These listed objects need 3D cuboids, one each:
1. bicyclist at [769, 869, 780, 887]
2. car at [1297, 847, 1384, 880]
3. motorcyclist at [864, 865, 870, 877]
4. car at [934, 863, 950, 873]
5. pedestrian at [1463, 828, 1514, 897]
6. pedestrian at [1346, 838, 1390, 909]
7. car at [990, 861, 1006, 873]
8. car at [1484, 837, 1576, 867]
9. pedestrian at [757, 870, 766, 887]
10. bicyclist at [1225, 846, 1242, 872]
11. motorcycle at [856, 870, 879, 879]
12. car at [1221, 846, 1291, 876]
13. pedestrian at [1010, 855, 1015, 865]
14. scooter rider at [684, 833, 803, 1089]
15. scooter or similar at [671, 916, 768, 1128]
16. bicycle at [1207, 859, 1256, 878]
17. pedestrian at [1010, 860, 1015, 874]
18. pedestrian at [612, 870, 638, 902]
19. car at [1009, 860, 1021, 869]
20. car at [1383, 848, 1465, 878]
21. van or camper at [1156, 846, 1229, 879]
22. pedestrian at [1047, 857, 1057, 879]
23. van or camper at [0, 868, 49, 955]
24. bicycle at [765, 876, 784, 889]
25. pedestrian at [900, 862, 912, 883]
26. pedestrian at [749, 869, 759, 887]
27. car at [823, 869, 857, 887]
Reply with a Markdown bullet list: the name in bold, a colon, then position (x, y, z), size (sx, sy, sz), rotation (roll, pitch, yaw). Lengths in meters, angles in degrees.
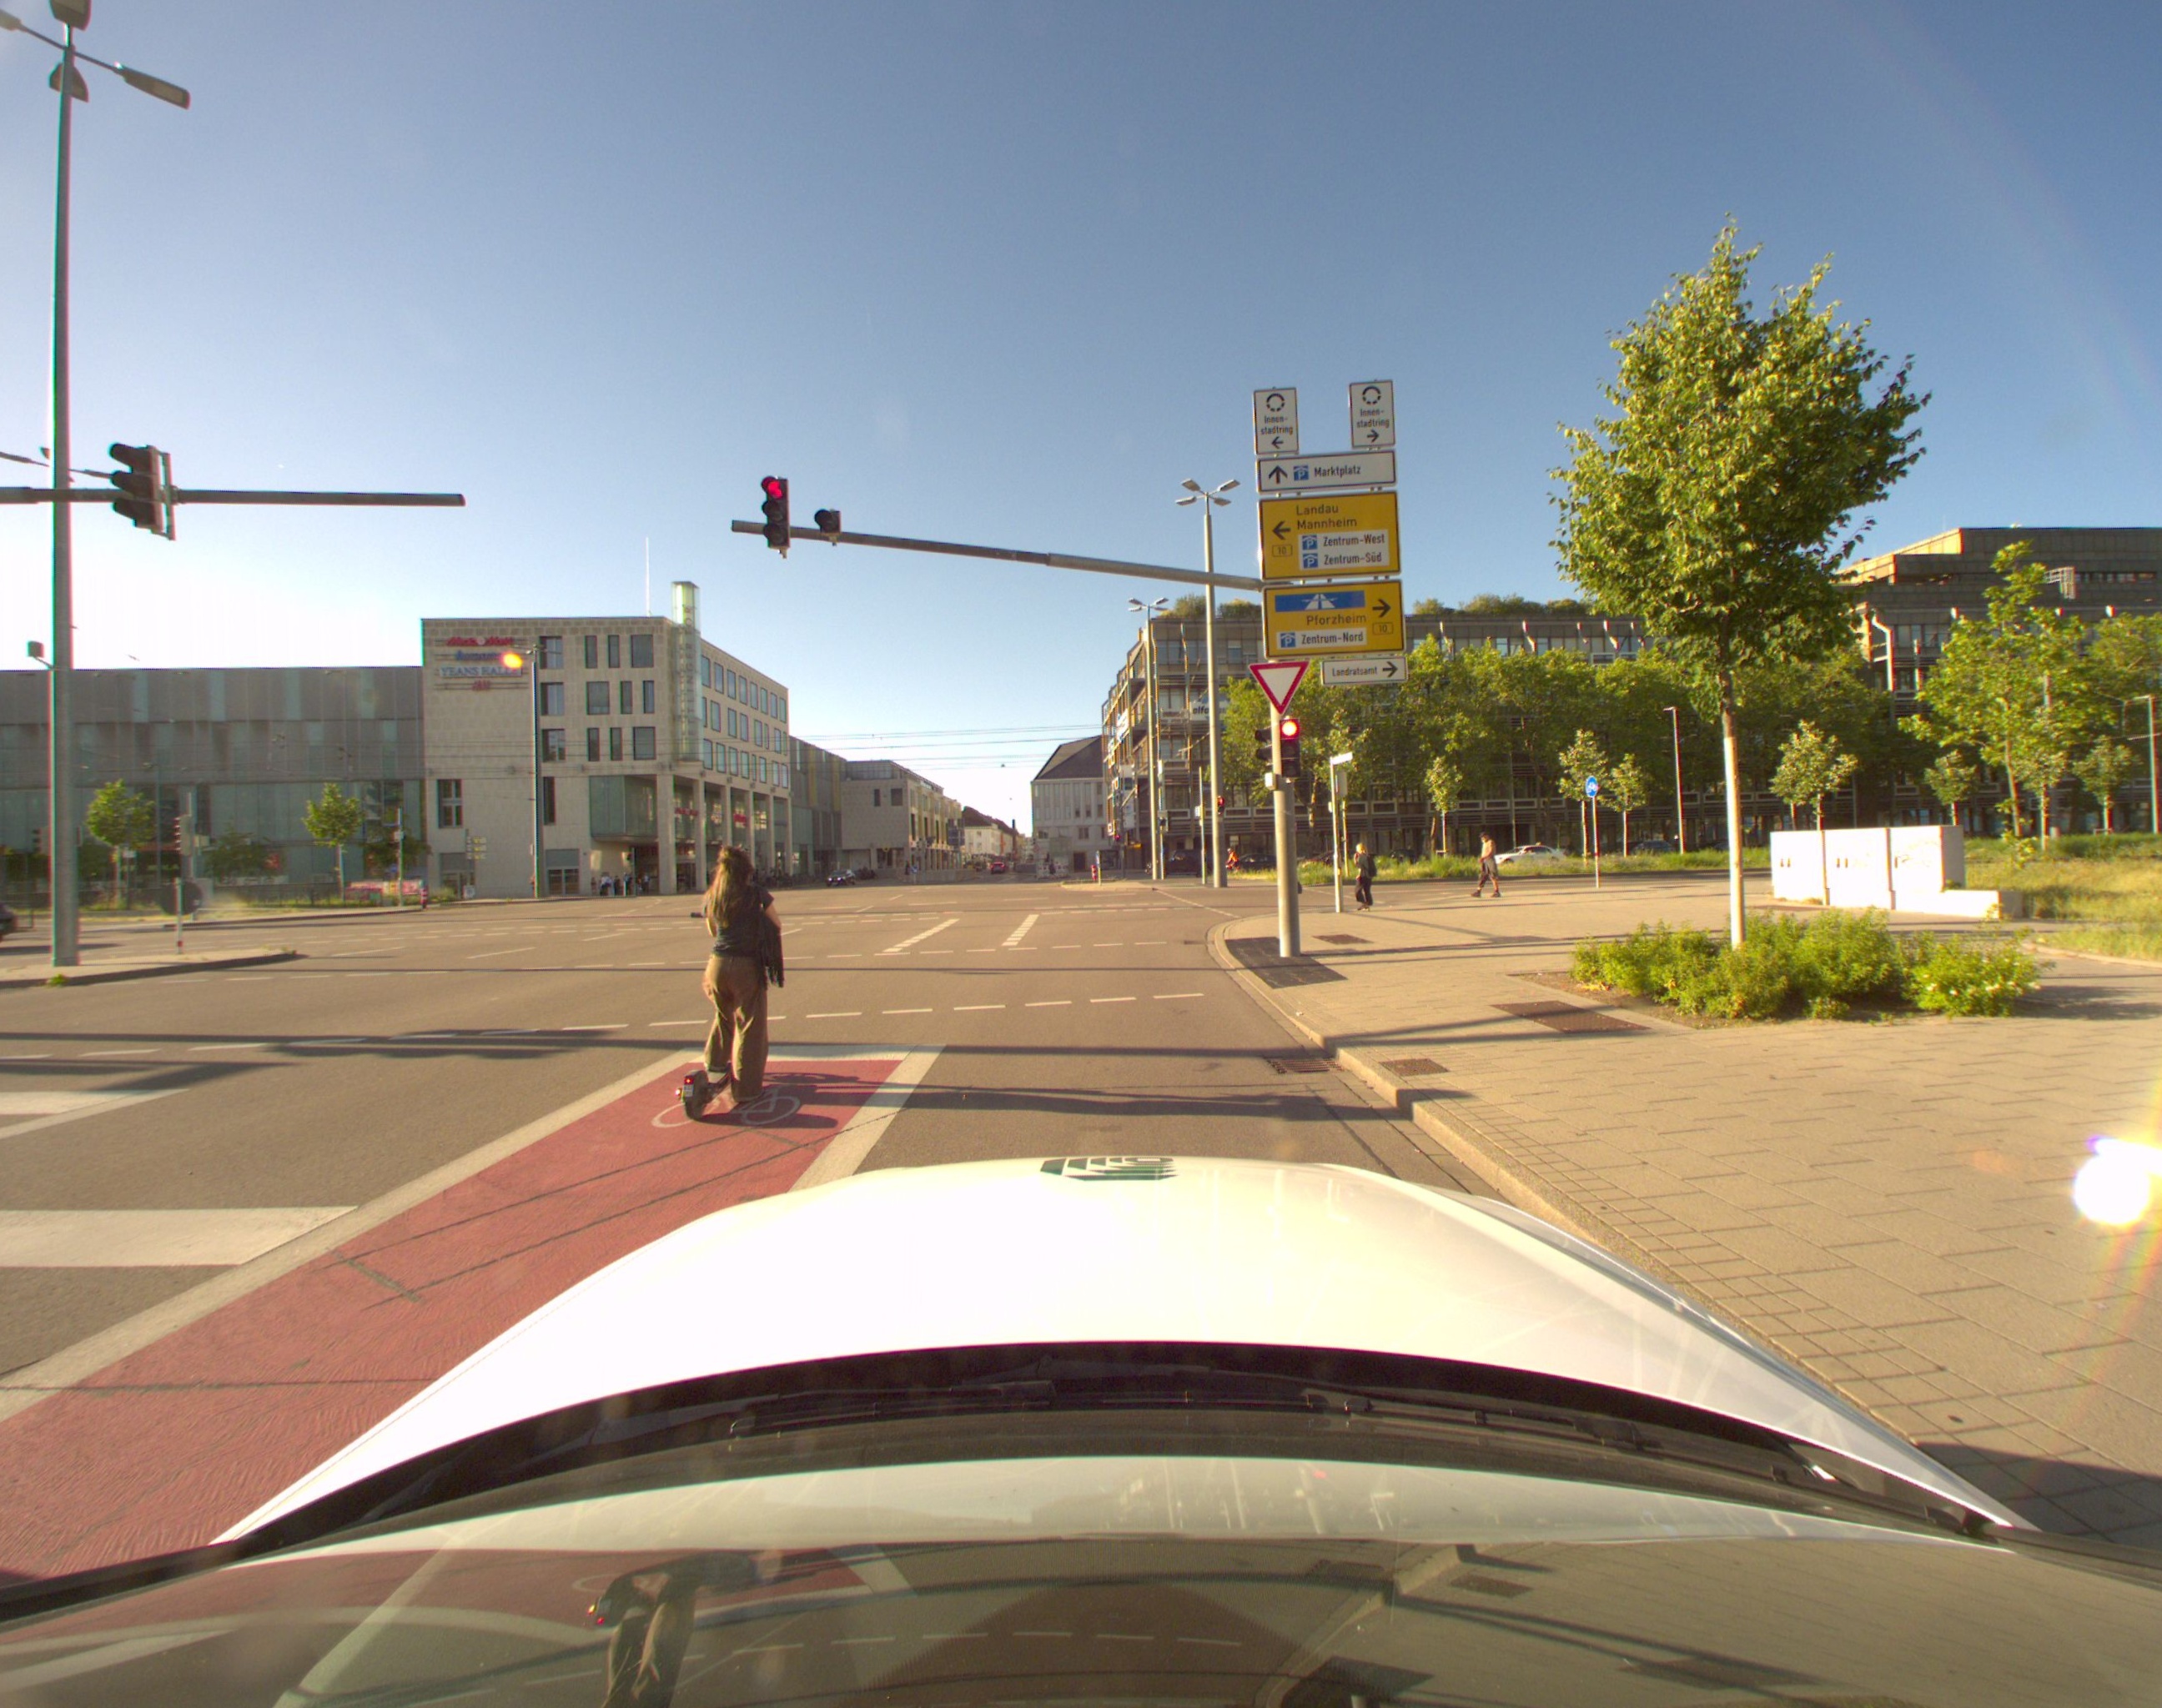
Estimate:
- **bicyclist**: position (-25.236, 1.942, 67.128), size (0.623, 1.448, 0.589), rotation (-2, 0, 3)
- **car**: position (14.710, 0.526, 46.237), size (4.287, 1.684, 1.820), rotation (-2, 0, -9)
- **motorcyclist**: position (-26.057, 2.030, 99.220), size (0.627, 1.406, 0.661), rotation (0, -1, -7)
- **car**: position (-20.885, 2.062, 122.859), size (1.652, 1.458, 3.543), rotation (-2, 0, 2)
- **pedestrian**: position (10.512, 0.217, 21.038), size (0.869, 1.706, 0.768), rotation (-2, 0, 0)
- **pedestrian**: position (6.664, 0.445, 18.886), size (0.863, 1.614, 0.772), rotation (-2, 0, 24)
- **car**: position (-11.013, 1.754, 108.524), size (1.652, 1.458, 3.543), rotation (-2, 0, 2)
- **car**: position (28.410, -0.103, 51.579), size (4.831, 1.684, 1.824), rotation (-2, 0, -2)
- **pedestrian**: position (-32.534, 2.496, 82.896), size (0.465, 1.729, 0.699), rotation (-1, -1, 40)
- **bicyclist**: position (8.827, 0.309, 47.066), size (0.820, 1.474, 0.652), rotation (-2, 0, -2)
- **motorcycle**: position (-25.944, 2.481, 98.961), size (2.600, 0.993, 1.113), rotation (0, -1, -8)
- **car**: position (10.770, 0.447, 50.293), size (3.973, 1.684, 1.761), rotation (-2, 0, 0)
- **pedestrian**: position (-13.895, 1.195, 165.258), size (0.907, 1.965, 0.823), rotation (0, -1, 1)
- **scooter rider**: position (-2.133, 0.647, 5.189), size (0.552, 1.530, 0.448), rotation (-2, 0, -7)
- **scooter or similar**: position (-2.178, 0.964, 4.961), size (0.306, 1.107, 0.835), rotation (-2, 0, -9)
- **bicycle**: position (8.680, 0.823, 47.050), size (2.561, 0.975, 1.047), rotation (-2, 0, -1)
- **pedestrian**: position (-8.305, 1.565, 98.492), size (0.490, 1.664, 0.529), rotation (0, -1, -12)
- **pedestrian**: position (-25.140, 1.767, 44.907), size (0.821, 1.675, 1.004), rotation (-2, 0, -2)
- **car**: position (-11.878, 1.838, 146.578), size (1.652, 1.458, 3.543), rotation (-2, 0, 2)
- **car**: position (21.526, 0.563, 51.175), size (4.392, 1.684, 1.824), rotation (-2, 0, -2)
- **van or camper**: position (7.296, 0.546, 53.432), size (4.404, 2.013, 1.993), rotation (-2, 0, -3)
- **pedestrian**: position (-2.299, 1.118, 64.432), size (0.697, 1.688, 0.620), rotation (-2, 0, 2)
- **van or camper**: position (-27.670, 1.423, 18.624), size (4.830, 2.013, 1.999), rotation (-2, 0, -12)
- **bicycle**: position (-25.224, 2.342, 67.023), size (0.633, 0.903, 2.220), rotation (-2, 0, 3)
- **pedestrian**: position (-13.763, 1.459, 64.191), size (0.775, 1.638, 0.625), rotation (-2, 0, -5)
- **pedestrian**: position (-29.761, 2.192, 74.062), size (0.590, 1.646, 0.629), rotation (-2, 0, 1)
- **car**: position (-20.841, 2.042, 70.478), size (1.670, 1.357, 4.021), rotation (-2, 0, 1)
